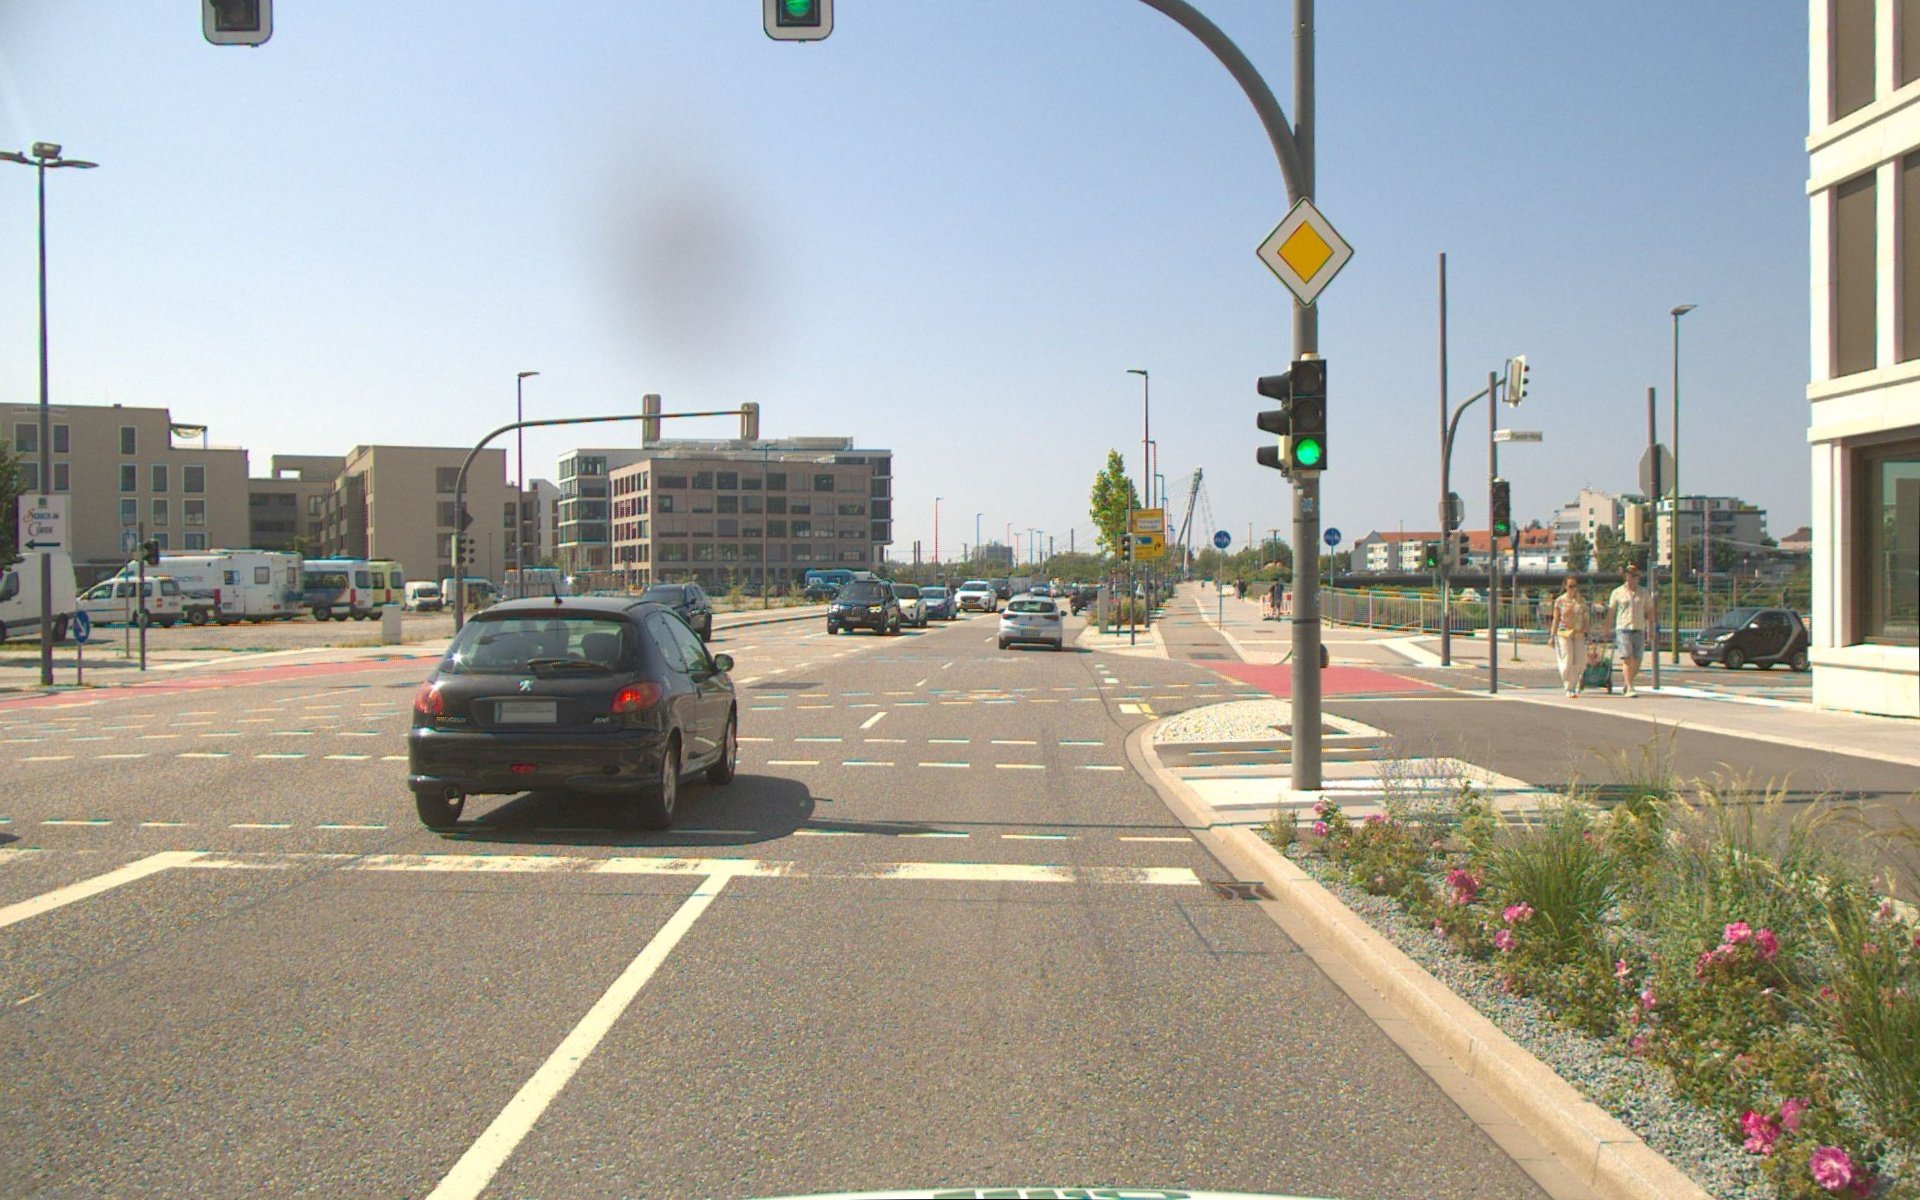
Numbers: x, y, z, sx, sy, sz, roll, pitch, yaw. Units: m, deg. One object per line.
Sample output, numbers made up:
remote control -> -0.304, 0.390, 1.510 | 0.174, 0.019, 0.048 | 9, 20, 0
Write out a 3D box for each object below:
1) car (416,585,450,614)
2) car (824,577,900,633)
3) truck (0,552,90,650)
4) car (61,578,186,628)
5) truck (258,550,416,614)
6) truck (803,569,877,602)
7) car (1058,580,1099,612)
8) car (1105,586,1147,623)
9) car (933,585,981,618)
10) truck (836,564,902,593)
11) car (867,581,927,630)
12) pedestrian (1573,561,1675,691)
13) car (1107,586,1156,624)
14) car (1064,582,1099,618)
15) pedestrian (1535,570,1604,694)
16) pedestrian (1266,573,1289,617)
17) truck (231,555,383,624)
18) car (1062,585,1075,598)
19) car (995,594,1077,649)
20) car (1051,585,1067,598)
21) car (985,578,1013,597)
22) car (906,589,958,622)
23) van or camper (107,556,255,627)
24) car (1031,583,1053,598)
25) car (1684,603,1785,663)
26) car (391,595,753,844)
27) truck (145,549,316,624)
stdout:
car -> -42.620, -0.048, 133.700 | 1.970, 2.279, 3.965 | 0, 1, -27
car -> -3.273, 0.145, 56.300 | 1.898, 1.820, 4.658 | -1, 0, 5
truck -> -27.763, 0.033, 48.063 | 2.124, 2.701, 5.941 | -1, 0, -4
car -> -30.858, 0.098, 61.092 | 3.784, 1.789, 1.658 | 0, 1, 4
truck -> -29.060, -0.851, 77.249 | 6.494, 2.875, 2.605 | 1, 1, 9
truck -> -10.120, -1.221, 139.520 | 5.877, 2.587, 2.277 | -1, 1, 6
car -> 6.183, -0.172, 85.968 | 1.740, 1.596, 4.003 | 1, 0, 9
car -> 7.808, 0.212, 77.603 | 1.832, 1.655, 4.880 | -1, 0, 7
car -> -0.125, 0.079, 86.838 | 1.872, 1.678, 4.734 | -1, 0, 8
truck -> -8.020, -1.926, 146.433 | 5.448, 2.404, 2.277 | -1, 1, 6
car -> -2.434, 0.191, 64.702 | 1.741, 1.711, 4.102 | -3, 1, 5
pedestrian -> 9.842, 0.367, 24.589 | 0.860, 1.858, 1.665 | 0, 0, 0
car -> 7.403, 0.200, 71.146 | 1.951, 1.545, 4.003 | -1, 0, 7
car -> 6.352, -0.004, 86.294 | 1.755, 1.780, 4.002 | -1, 0, 5
pedestrian -> 8.790, 0.459, 23.869 | 0.685, 1.754, 0.796 | 1, -1, 0
pedestrian -> 12.247, -0.185, 63.887 | 0.734, 1.637, 0.950 | -3, 0, 7
truck -> -29.139, -0.466, 73.879 | 5.711, 2.874, 2.572 | 1, 0, 8
car -> 13.539, -1.077, 206.133 | 1.546, 1.590, 3.675 | 1, 0, 4
car -> 2.175, 0.565, 46.497 | 1.740, 1.467, 4.004 | -1, 0, 11
car -> 11.205, -0.982, 187.142 | 1.756, 1.441, 4.002 | 1, 0, 4
car -> 3.061, -0.949, 129.724 | 1.759, 1.440, 3.793 | 1, 0, 7
car -> -1.231, 0.226, 74.885 | 1.748, 1.446, 4.285 | -1, 0, 8
van or camper -> -30.482, -0.362, 64.805 | 4.795, 2.708, 2.262 | 0, 1, 7
car -> 8.019, -0.909, 162.159 | 1.853, 1.440, 3.601 | 1, 0, 7
car -> 20.172, 0.844, 43.019 | 1.433, 1.490, 3.347 | 1, 0, 43
car -> -2.512, 0.697, 11.565 | 1.586, 1.441, 3.727 | -1, 0, 1
truck -> -30.440, -0.553, 69.088 | 6.014, 2.952, 2.572 | 1, 0, 8
